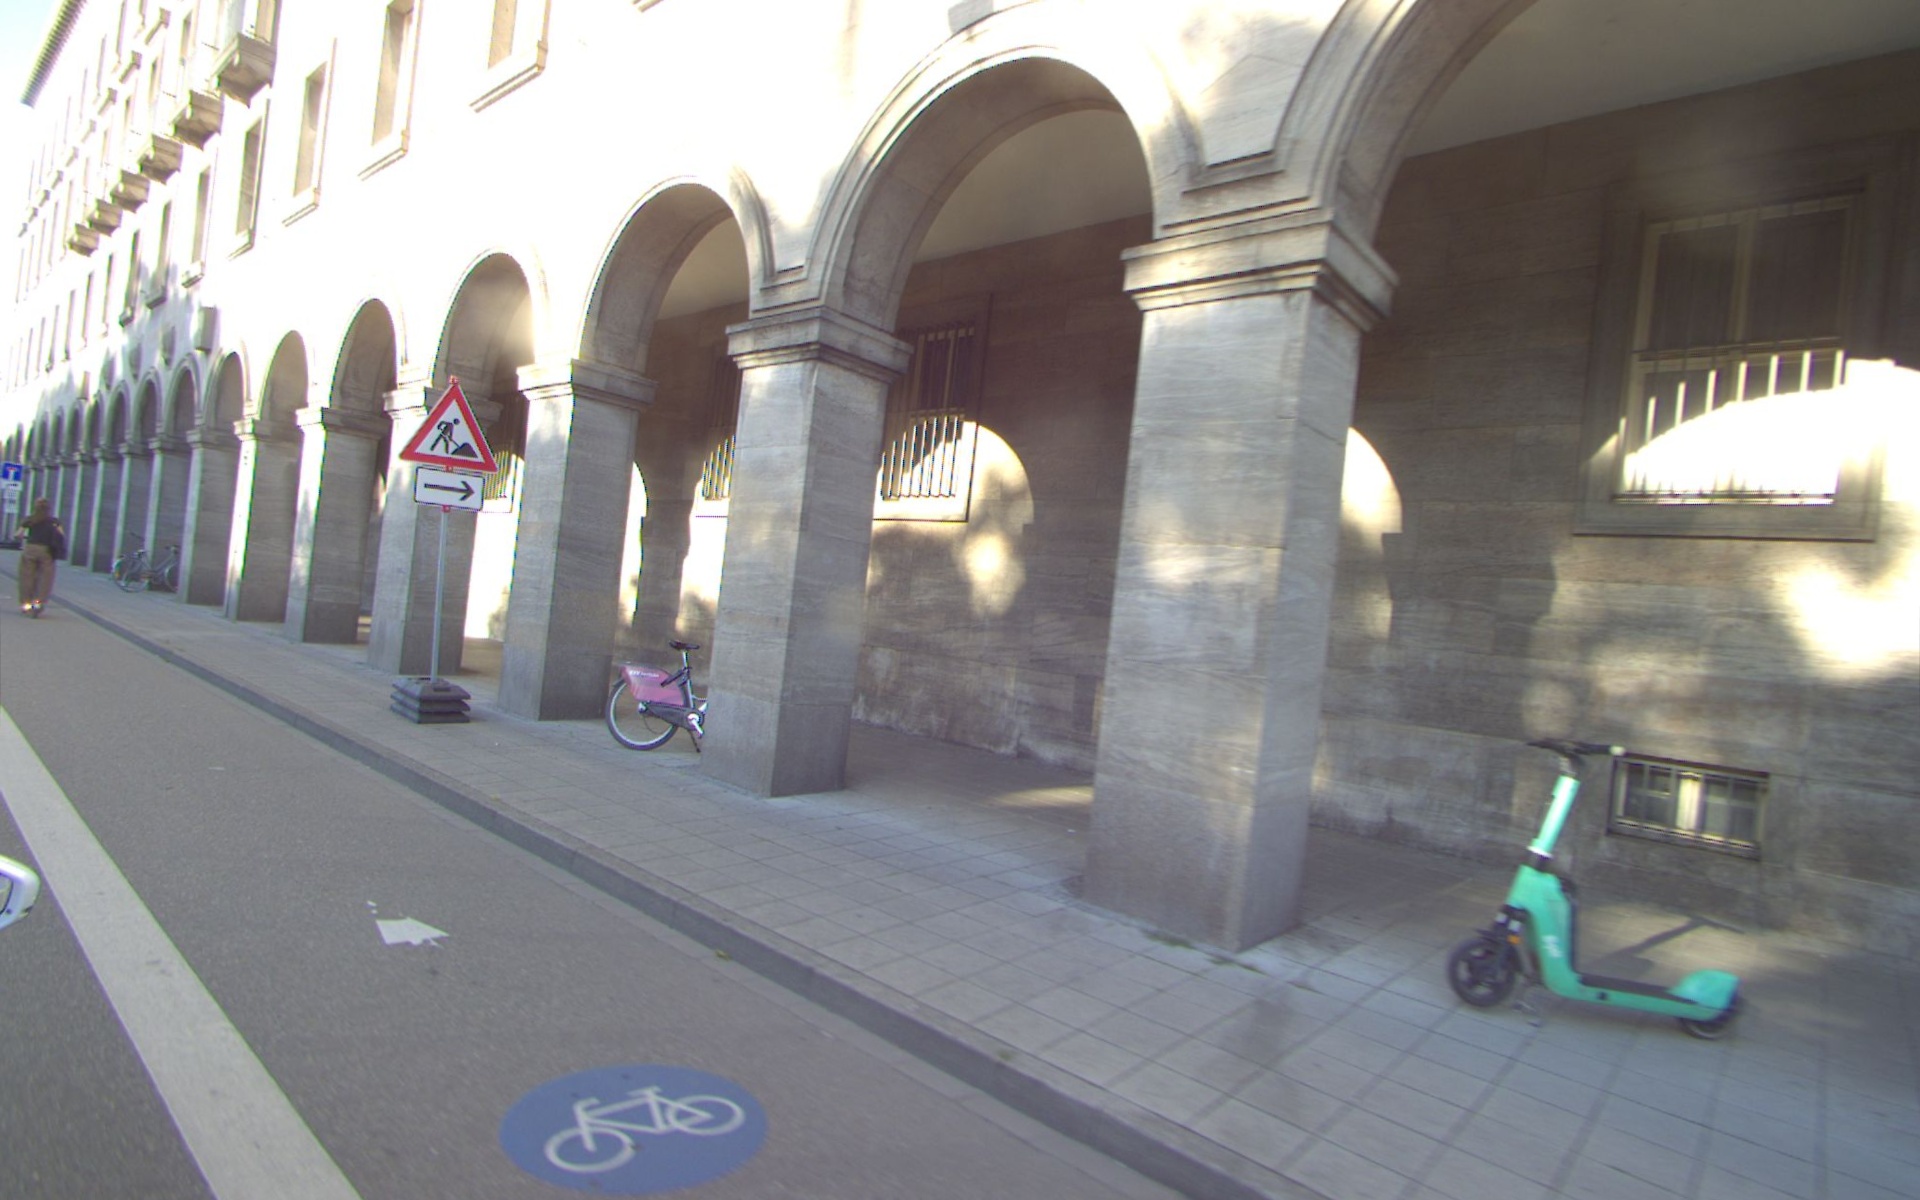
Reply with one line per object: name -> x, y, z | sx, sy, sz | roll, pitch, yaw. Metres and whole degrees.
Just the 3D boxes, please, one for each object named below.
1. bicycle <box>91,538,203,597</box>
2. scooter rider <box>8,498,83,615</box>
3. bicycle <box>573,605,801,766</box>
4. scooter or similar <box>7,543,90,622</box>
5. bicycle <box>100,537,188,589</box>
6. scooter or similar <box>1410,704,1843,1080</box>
bicycle -> -17.003, -0.666, 21.070 | 0.518, 1.064, 1.711 | 6, 0, 27
scooter rider -> -13.664, -0.648, 15.030 | 0.639, 1.651, 0.562 | 6, 0, 33
bicycle -> -2.243, 0.701, 8.440 | 1.683, 1.147, 0.663 | 6, 1, -9
scooter or similar -> -13.548, -0.264, 14.945 | 1.099, 1.044, 0.556 | 6, 0, 32
bicycle -> -18.243, -0.809, 22.534 | 0.601, 1.064, 1.712 | 5, 0, -5
scooter or similar -> 2.677, 1.143, 4.173 | 1.240, 1.239, 0.641 | 5, 2, 7
